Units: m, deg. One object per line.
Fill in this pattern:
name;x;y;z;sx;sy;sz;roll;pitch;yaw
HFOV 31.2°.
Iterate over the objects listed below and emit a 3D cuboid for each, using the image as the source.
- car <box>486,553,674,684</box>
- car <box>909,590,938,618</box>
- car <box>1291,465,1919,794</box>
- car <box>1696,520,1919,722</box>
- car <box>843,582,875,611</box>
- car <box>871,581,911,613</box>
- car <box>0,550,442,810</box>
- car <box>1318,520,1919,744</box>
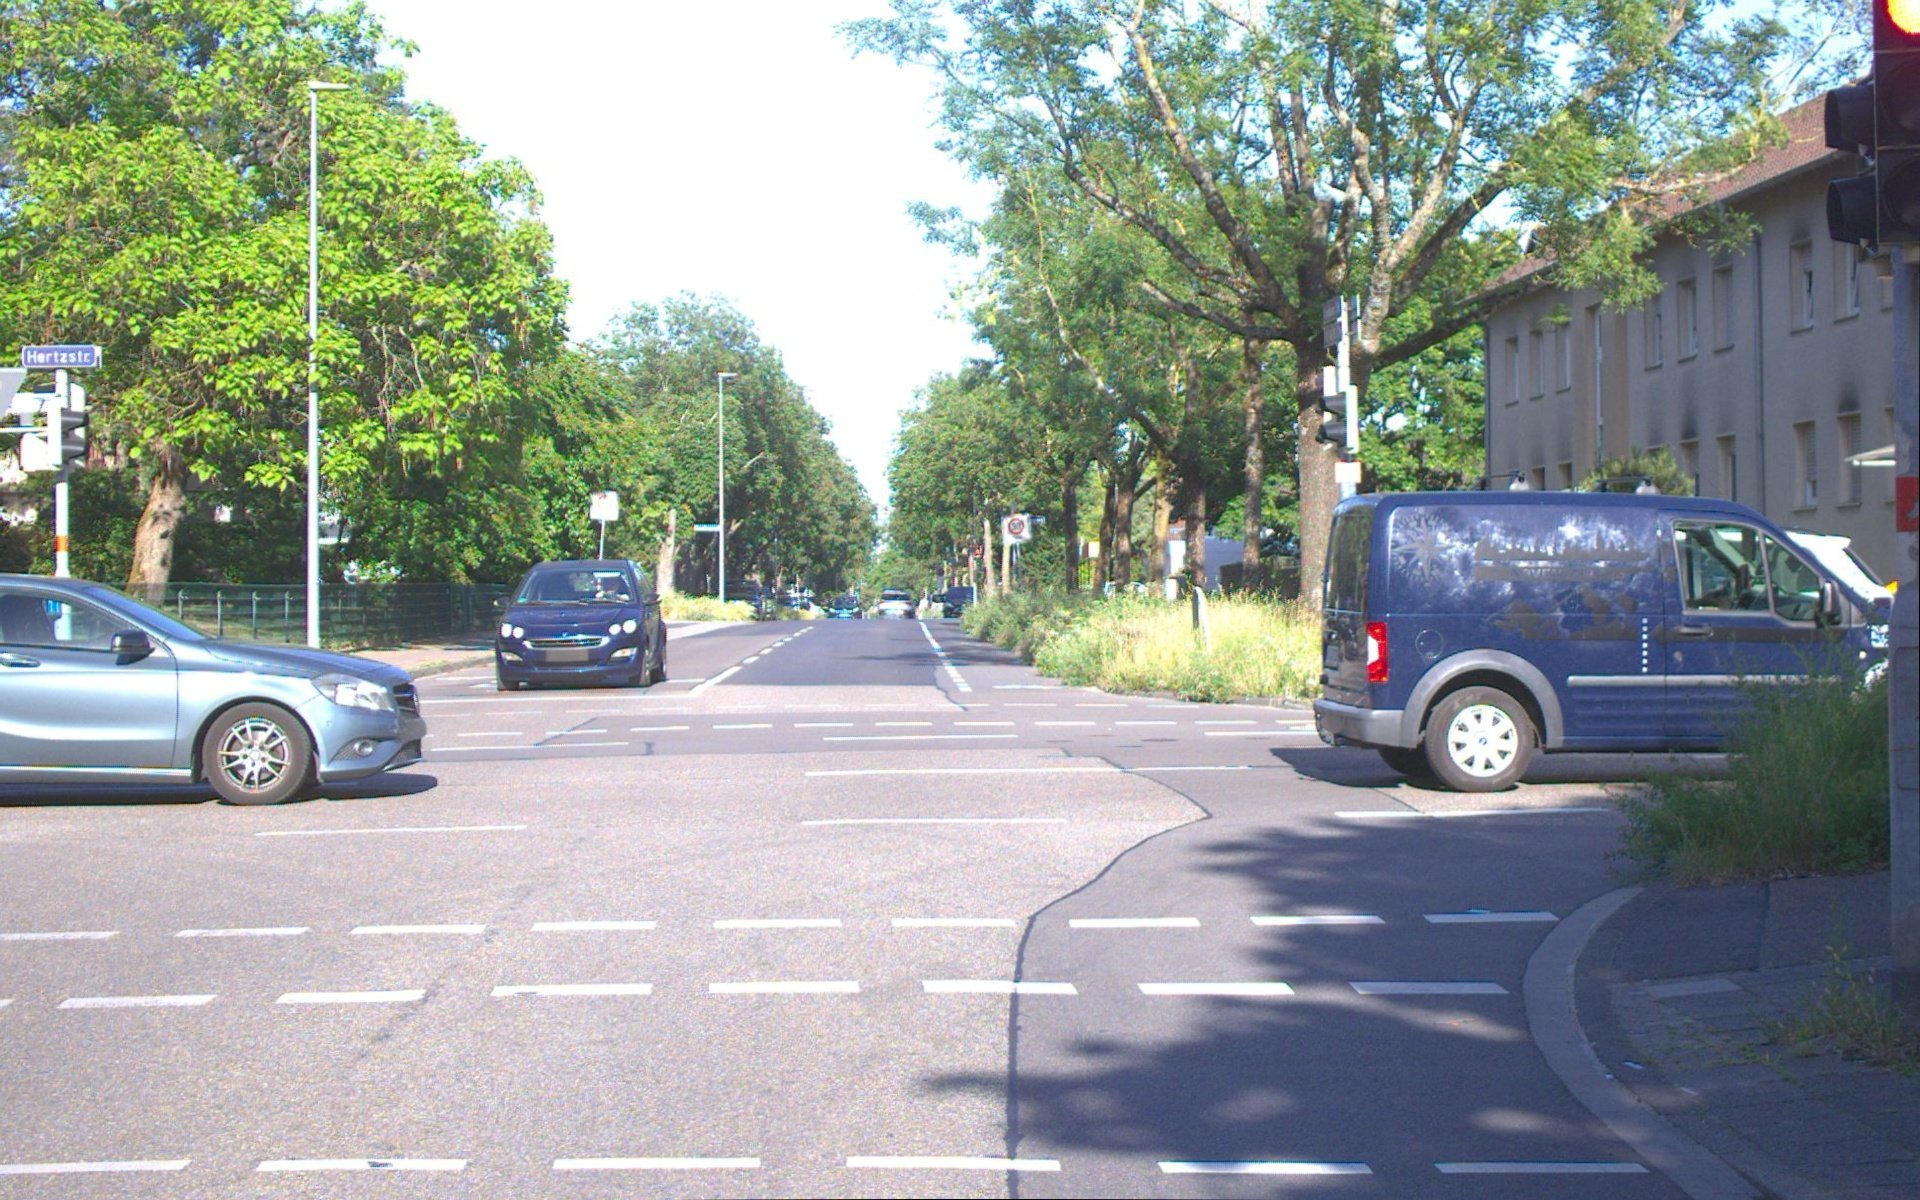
car;-4.269;0.174;39.033;1.711;1.381;3.471;0;1;0
car;-2.314;0.233;219.259;1.773;1.748;4.000;1;0;0
car;4.354;0.143;21.124;4.344;1.881;1.860;-1;1;-4
car;8.080;0.173;27.706;3.991;1.577;1.756;1;0;20
car;-5.843;-0.222;199.031;1.758;1.619;3.268;0;1;0
car;-3.251;-0.154;161.985;1.844;1.456;3.530;0;1;-1
car;-5.481;0.481;21.302;4.282;1.484;1.914;-1;1;-2
car;4.833;0.225;25.501;4.106;1.558;1.758;1;0;-2
